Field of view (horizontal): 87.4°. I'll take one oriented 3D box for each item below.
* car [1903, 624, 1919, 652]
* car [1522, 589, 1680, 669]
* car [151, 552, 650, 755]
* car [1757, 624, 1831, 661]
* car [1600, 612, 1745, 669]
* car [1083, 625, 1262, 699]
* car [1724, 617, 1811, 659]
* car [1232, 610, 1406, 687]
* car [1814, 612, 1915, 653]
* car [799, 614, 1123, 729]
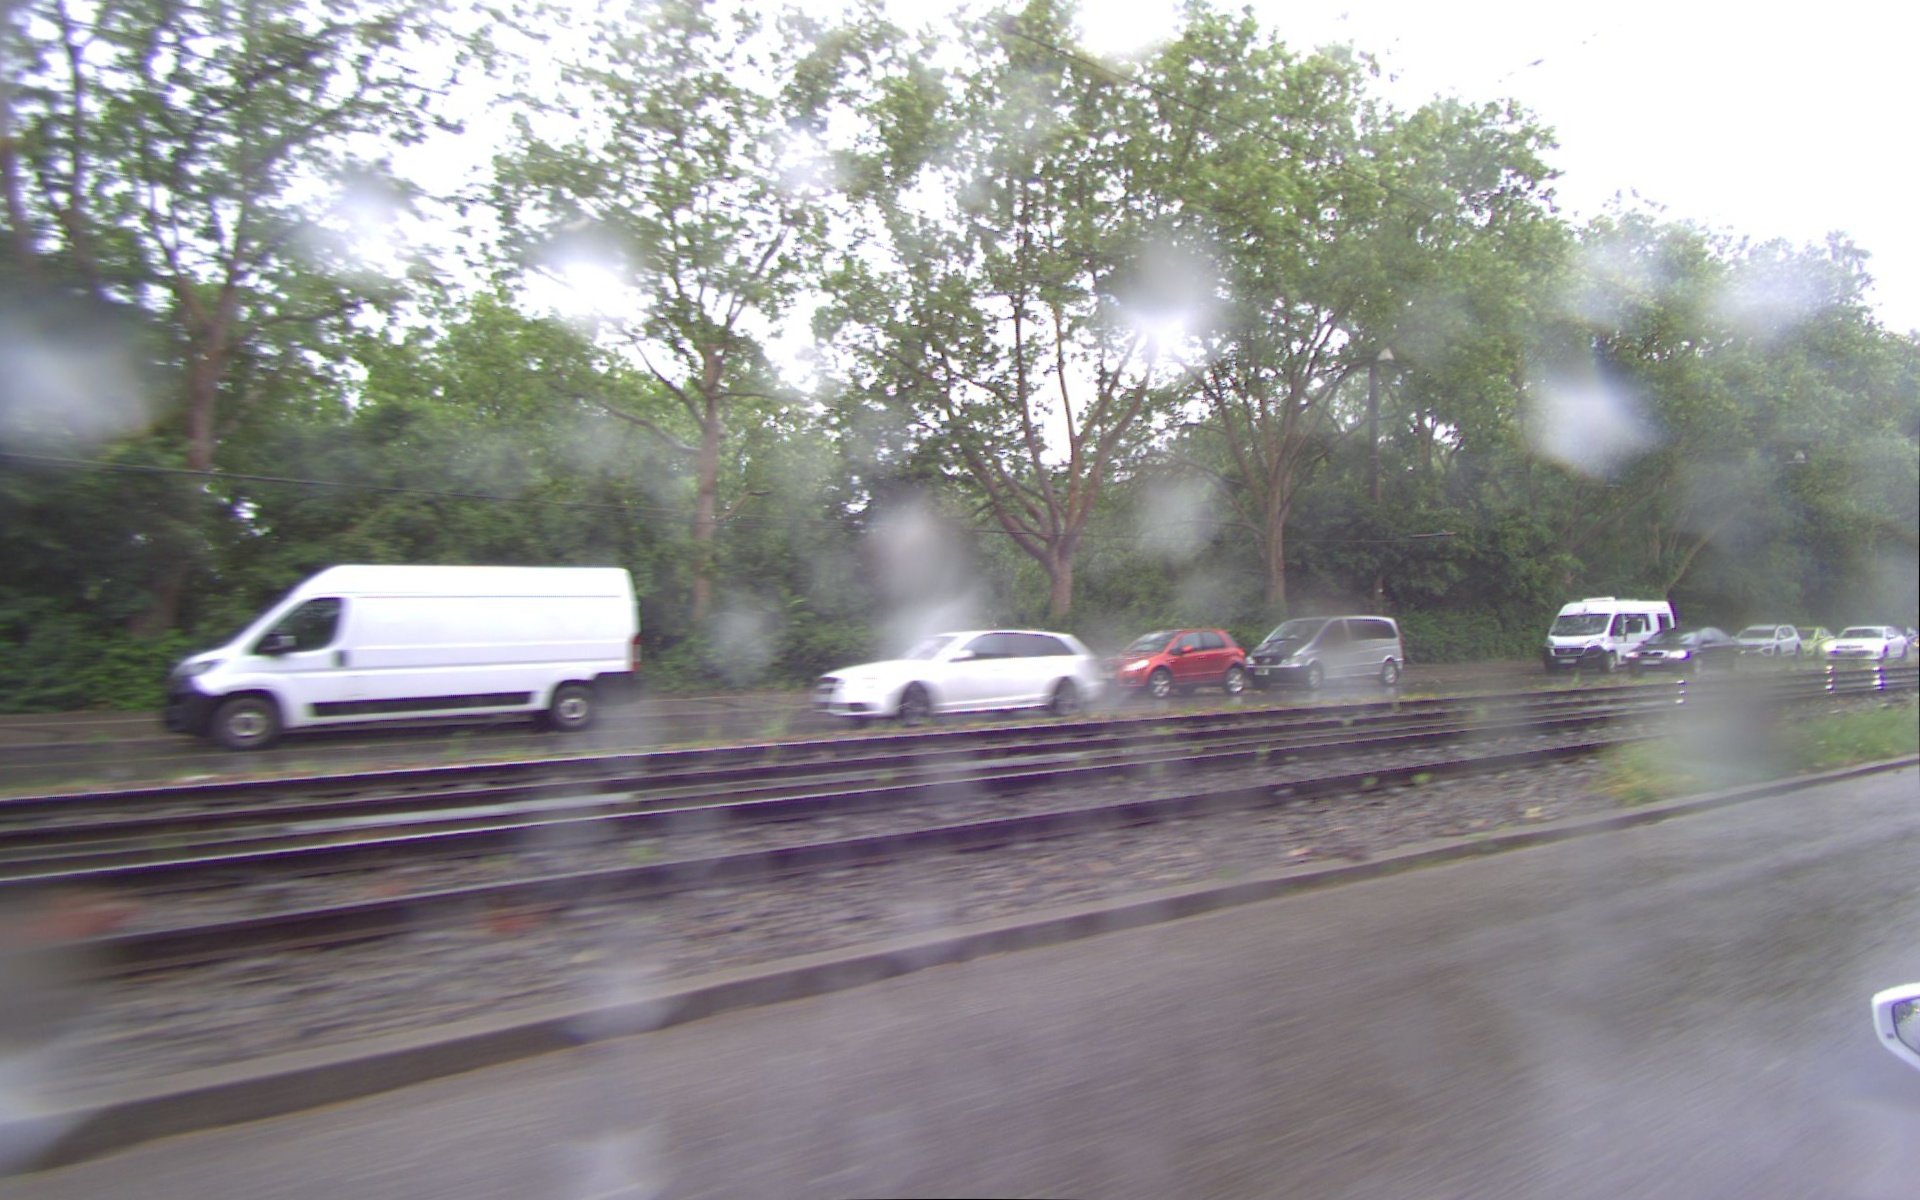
[{"bbox_3d":[59.362,2.321,61.250,4.567,1.680,2.017,1,-1,-37],"label":"car"},{"bbox_3d":[22.658,1.018,35.396,6.500,2.574,2.375,1,-2,-35],"label":"car"},{"bbox_3d":[-7.981,0.737,14.947,6.074,2.478,2.316,1,-2,-34],"label":"car"},{"bbox_3d":[39.778,2.011,47.891,3.775,1.670,1.750,1,-2,-35],"label":"car"},{"bbox_3d":[21.318,1.180,30.018,4.517,1.572,2.022,0,-2,-33],"label":"car"},{"bbox_3d":[4.994,1.400,23.487,3.981,1.572,1.808,0,-2,-33],"label":"car"},{"bbox_3d":[35.177,1.635,43.718,4.486,1.750,1.739,1,-2,-35],"label":"car"},{"bbox_3d":[9.547,1.245,26.614,4.591,1.886,1.946,0,-2,-33],"label":"car"},{"bbox_3d":[36.934,1.307,40.987,4.719,1.587,1.966,1,-2,-34],"label":"car"},{"bbox_3d":[0.101,1.046,16.100,4.946,1.572,2.021,1,-2,-35],"label":"car"}]
